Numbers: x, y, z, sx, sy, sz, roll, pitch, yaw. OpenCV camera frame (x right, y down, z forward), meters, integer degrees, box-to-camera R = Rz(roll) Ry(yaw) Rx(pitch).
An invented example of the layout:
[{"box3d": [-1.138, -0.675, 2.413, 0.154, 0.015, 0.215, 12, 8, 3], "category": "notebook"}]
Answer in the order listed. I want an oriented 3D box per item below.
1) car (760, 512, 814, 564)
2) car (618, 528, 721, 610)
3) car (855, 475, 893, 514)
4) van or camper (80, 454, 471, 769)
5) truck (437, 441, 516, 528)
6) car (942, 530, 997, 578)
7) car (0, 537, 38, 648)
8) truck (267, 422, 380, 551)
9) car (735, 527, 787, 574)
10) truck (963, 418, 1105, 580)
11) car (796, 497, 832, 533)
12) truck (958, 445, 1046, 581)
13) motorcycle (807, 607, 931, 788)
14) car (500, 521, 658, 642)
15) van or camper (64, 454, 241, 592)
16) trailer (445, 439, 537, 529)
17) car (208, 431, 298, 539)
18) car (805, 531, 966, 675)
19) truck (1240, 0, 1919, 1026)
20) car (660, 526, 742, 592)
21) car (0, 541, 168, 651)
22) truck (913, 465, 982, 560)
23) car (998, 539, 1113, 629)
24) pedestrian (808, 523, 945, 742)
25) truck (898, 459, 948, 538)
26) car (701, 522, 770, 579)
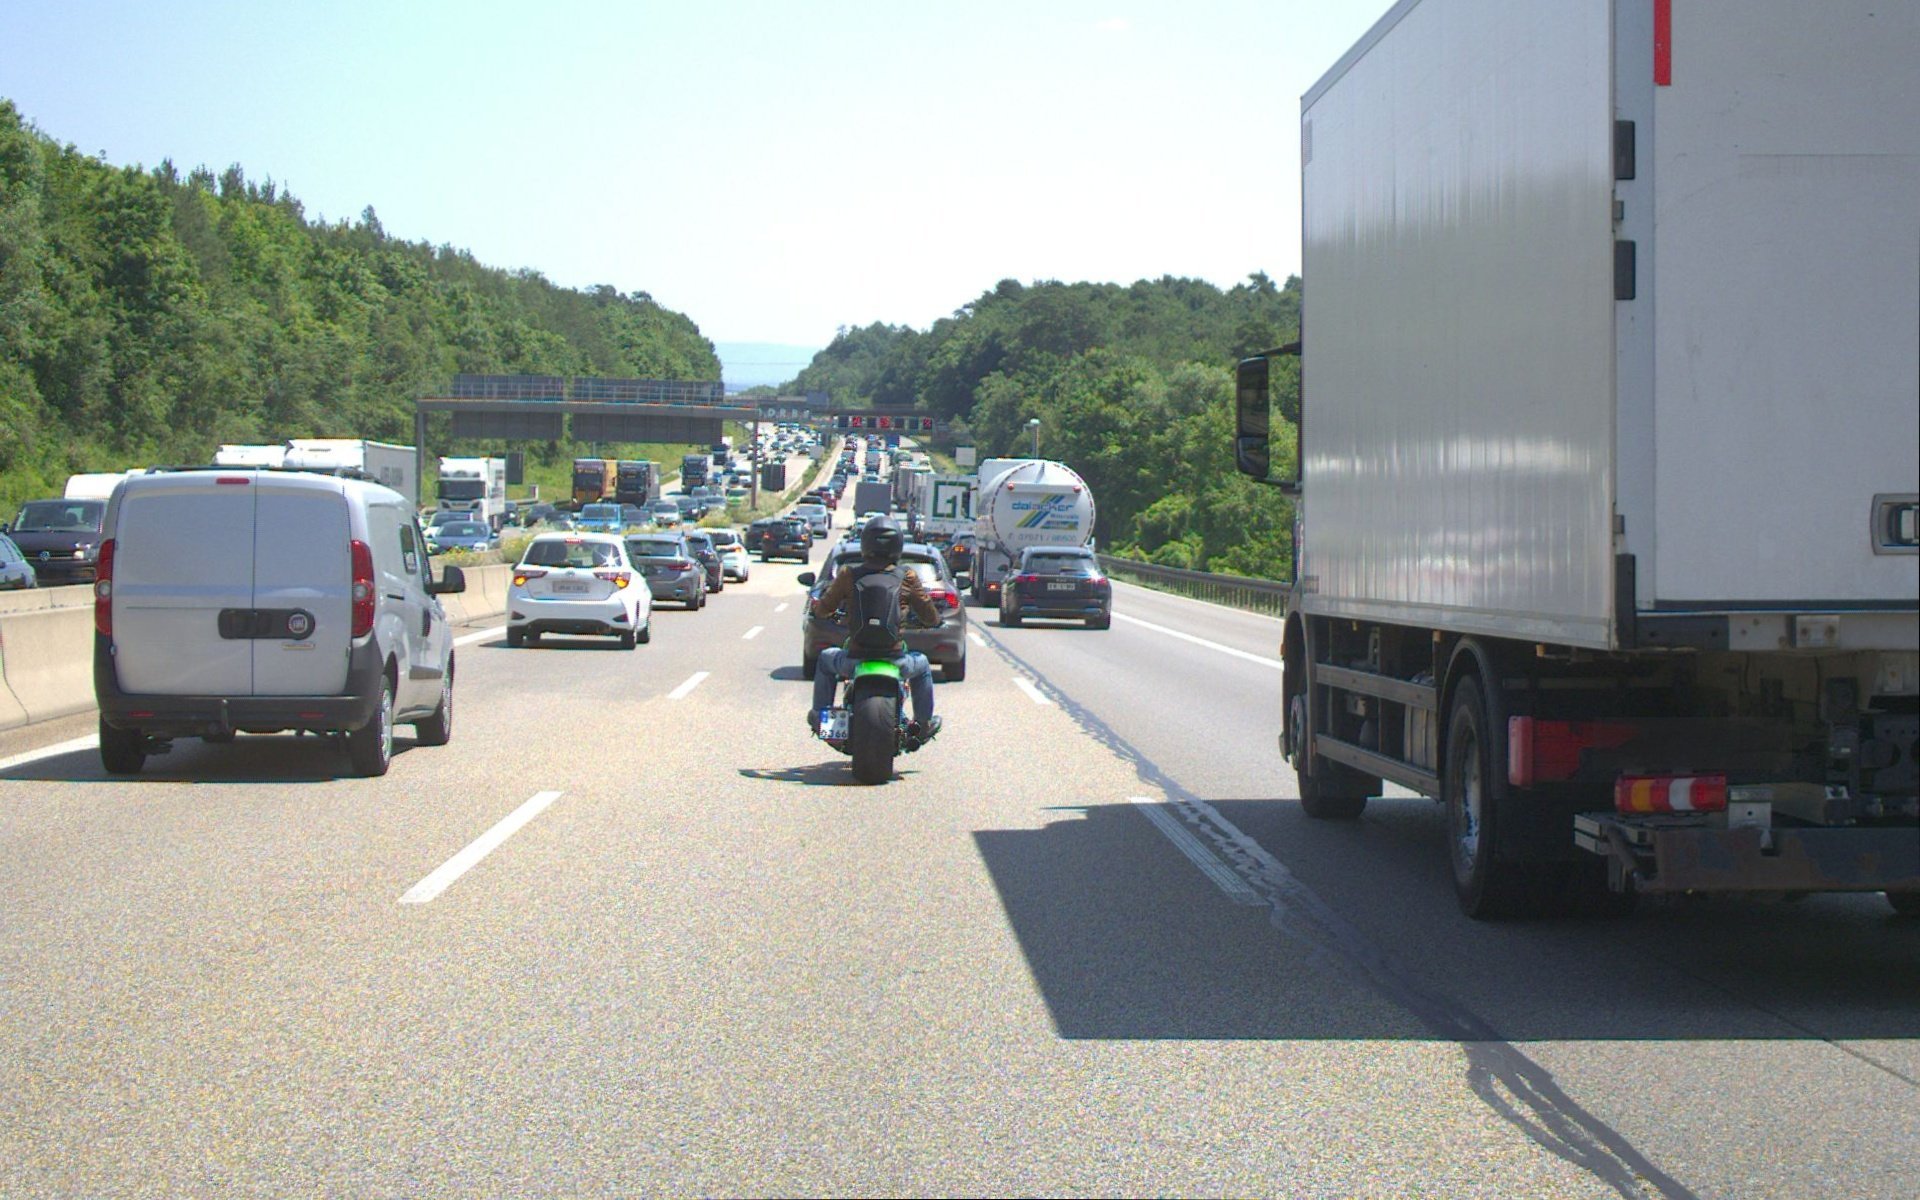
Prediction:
[{"box3d": [-6.598, -2.386, 131.344, 1.880, 1.853, 4.000, 2, 1, -1], "category": "car"}, {"box3d": [-5.604, -0.623, 66.663, 1.699, 1.473, 4.001, 2, 1, -1], "category": "car"}, {"box3d": [-5.882, -7.198, 235.716, 2.504, 2.578, 5.017, 2, 1, -1], "category": "car"}, {"box3d": [-4.386, 0.049, 22.632, 1.796, 1.886, 4.160, 0, 1, -1], "category": "van or camper"}, {"box3d": [-24.442, -5.804, 173.981, 2.803, 4.151, 7.600, 1, 0, 1], "category": "truck"}, {"box3d": [0.322, -1.615, 119.835, 1.787, 1.550, 3.804, 2, 1, -1], "category": "car"}, {"box3d": [-12.711, -0.095, 42.349, 1.614, 1.371, 4.271, 1, 1, -1], "category": "car"}, {"box3d": [-21.542, -3.815, 116.655, 2.840, 4.199, 5.660, 1, 1, -1], "category": "truck"}, {"box3d": [-8.429, -2.092, 145.913, 1.993, 2.007, 4.000, 0, 1, -1], "category": "car"}, {"box3d": [1.680, -2.321, 82.378, 2.988, 3.659, 9.288, 0, 1, -1], "category": "truck"}, {"box3d": [-8.394, -4.894, 197.563, 1.929, 2.007, 4.000, 0, 1, -1], "category": "car"}, {"box3d": [1.093, -2.264, 91.314, 1.993, 3.510, 4.752, 0, 0, -4], "category": "truck"}, {"box3d": [-0.555, 0.590, 21.782, 0.691, 1.012, 2.121, 3, 1, 0], "category": "motorcycle"}, {"box3d": [-5.010, -0.280, 45.671, 1.699, 1.473, 4.001, 2, 1, -1], "category": "car"}, {"box3d": [-16.887, -1.610, 72.277, 2.230, 2.751, 6.837, 1, 1, -1], "category": "van or camper"}, {"box3d": [-24.404, -5.965, 179.583, 2.803, 4.323, 14.037, 1, 1, 0], "category": "trailer"}, {"box3d": [-25.671, -4.139, 125.043, 2.449, 3.860, 4.566, 0, 1, -2], "category": "car"}, {"box3d": [-0.777, -0.008, 38.088, 1.533, 1.504, 4.000, 0, 1, 2], "category": "car"}, {"box3d": [3.199, -0.718, 15.535, 2.688, 3.863, 9.781, -1, 1, -2], "category": "truck"}, {"box3d": [-6.206, -1.004, 82.664, 1.699, 1.473, 4.001, 2, 1, -1], "category": "car"}, {"box3d": [-16.522, -0.102, 65.002, 1.993, 2.007, 5.193, 0, 1, -1], "category": "car"}, {"box3d": [-0.685, -4.408, 173.294, 3.033, 4.526, 9.984, 3, 1, -1], "category": "truck"}, {"box3d": [1.706, -0.315, 62.662, 1.828, 1.465, 4.001, 3, 1, -1], "category": "car"}, {"box3d": [-0.519, 0.192, 21.861, 0.849, 1.357, 0.961, 0, 1, 0], "category": "pedestrian"}, {"box3d": [-2.546, -6.897, 233.566, 3.033, 5.121, 9.984, 3, 1, -1], "category": "truck"}, {"box3d": [-6.212, -1.383, 95.560, 1.699, 1.473, 4.001, 2, 1, -1], "category": "car"}]
